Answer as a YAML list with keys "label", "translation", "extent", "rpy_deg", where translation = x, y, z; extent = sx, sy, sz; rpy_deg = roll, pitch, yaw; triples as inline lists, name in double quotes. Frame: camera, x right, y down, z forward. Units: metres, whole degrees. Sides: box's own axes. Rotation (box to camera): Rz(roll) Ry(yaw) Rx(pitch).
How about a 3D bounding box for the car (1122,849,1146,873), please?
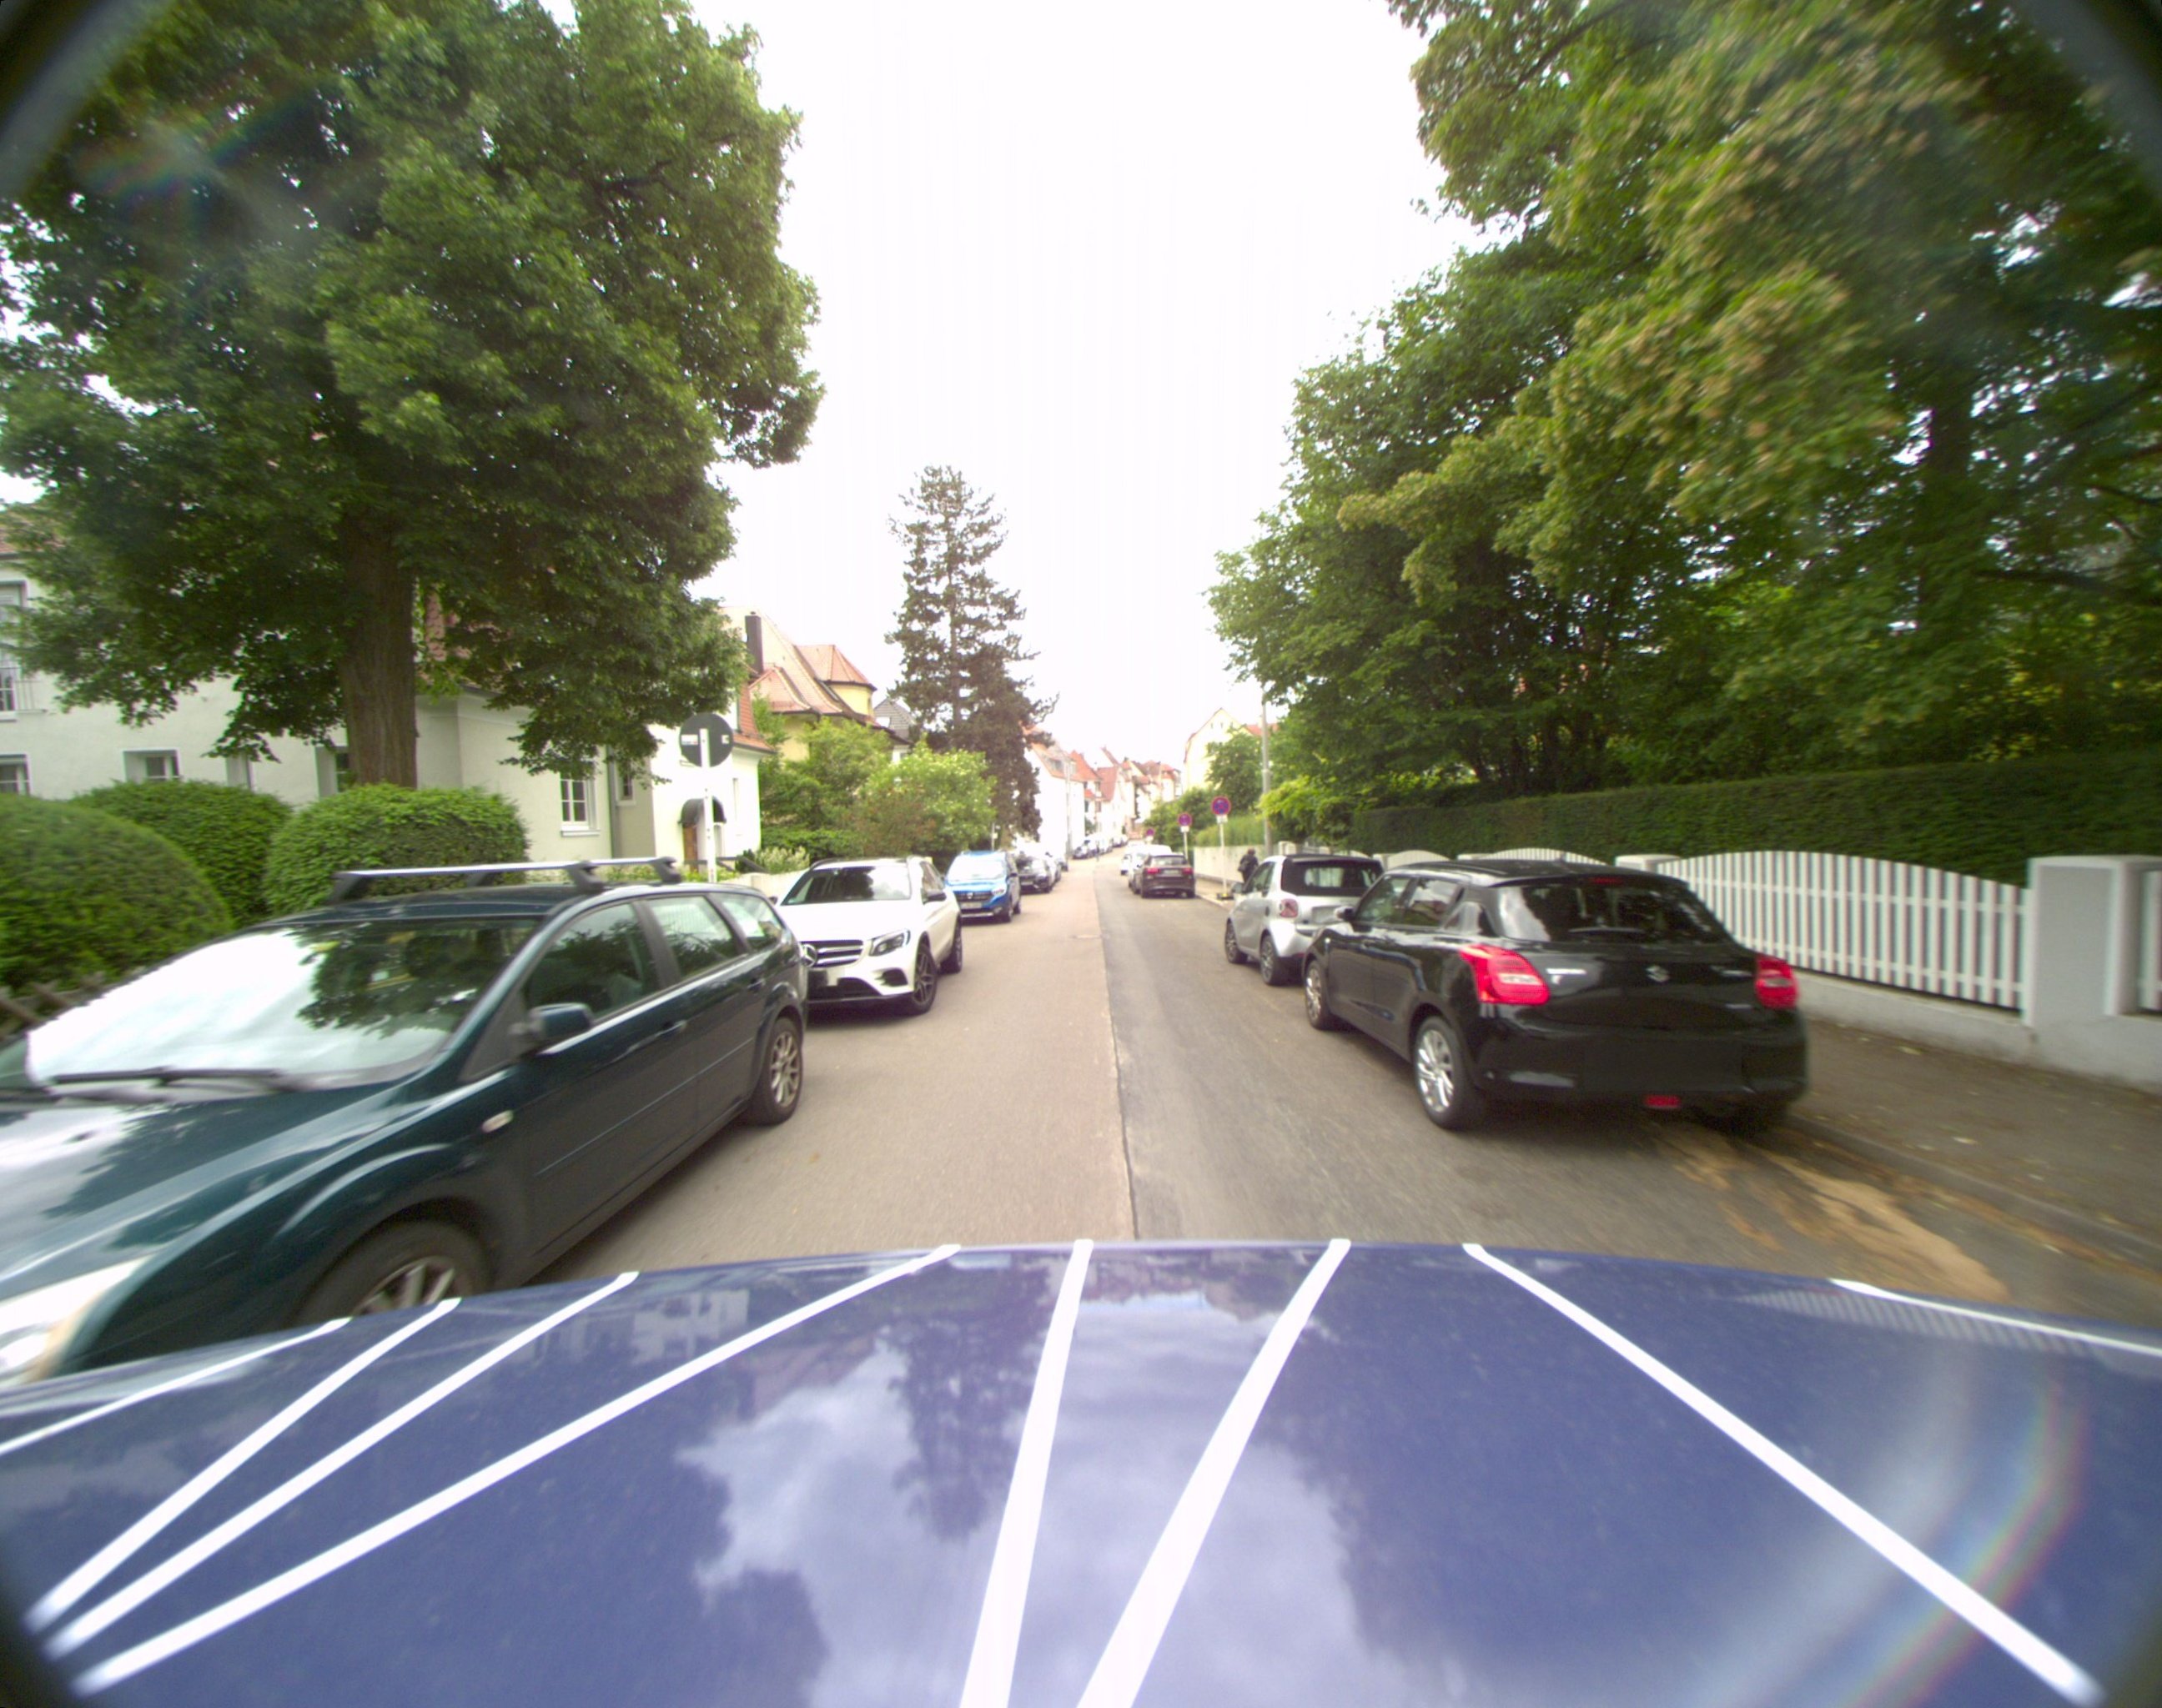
- label: "car"
  translation: [3.756, 0.473, 53.414]
  extent: [1.445, 1.543, 2.771]
  rpy_deg: [2, 1, 8]

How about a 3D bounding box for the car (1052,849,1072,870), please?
- label: "car"
  translation: [-1.603, 0.447, 64.267]
  extent: [1.576, 1.523, 2.867]
  rpy_deg: [-4, 1, -1]

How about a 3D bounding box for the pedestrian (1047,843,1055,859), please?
- label: "pedestrian"
  translation: [-3.064, -0.283, 77.628]
  extent: [0.682, 1.568, 0.906]
  rpy_deg: [1, 3, 7]

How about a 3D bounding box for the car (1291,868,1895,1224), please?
- label: "car"
  translation: [2.799, 0.885, 5.318]
  extent: [1.659, 1.472, 3.888]
  rpy_deg: [1, 0, 2]

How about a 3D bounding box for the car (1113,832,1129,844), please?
- label: "car"
  translation: [5.850, -2.327, 110.782]
  extent: [1.607, 1.482, 4.023]
  rpy_deg: [-2, 4, 12]

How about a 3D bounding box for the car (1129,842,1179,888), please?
- label: "car"
  translation: [3.196, 0.410, 34.121]
  extent: [1.859, 1.902, 4.619]
  rpy_deg: [1, 1, 1]

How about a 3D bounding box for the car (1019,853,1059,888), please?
- label: "car"
  translation: [-2.161, 0.811, 40.204]
  extent: [1.789, 1.594, 4.303]
  rpy_deg: [-4, 1, 0]

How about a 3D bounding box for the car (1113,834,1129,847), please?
- label: "car"
  translation: [5.832, -1.916, 110.667]
  extent: [1.779, 1.711, 4.001]
  rpy_deg: [-2, 2, 11]

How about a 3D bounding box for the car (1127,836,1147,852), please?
- label: "car"
  translation: [6.551, -1.166, 88.515]
  extent: [1.807, 1.650, 4.153]
  rpy_deg: [0, 2, 12]

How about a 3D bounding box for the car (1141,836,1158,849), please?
- label: "car"
  translation: [9.208, -1.557, 102.143]
  extent: [1.805, 1.472, 4.329]
  rpy_deg: [-1, 4, 12]

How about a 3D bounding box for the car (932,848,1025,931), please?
- label: "car"
  translation: [-2.521, 0.811, 19.625]
  extent: [1.687, 1.818, 4.156]
  rpy_deg: [-4, 0, 0]

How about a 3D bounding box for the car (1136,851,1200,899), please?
- label: "car"
  translation: [3.112, 0.694, 28.032]
  extent: [1.795, 1.614, 4.342]
  rpy_deg: [-1, 0, -1]

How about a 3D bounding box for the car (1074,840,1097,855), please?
- label: "car"
  translation: [0.547, -0.767, 87.798]
  extent: [1.821, 1.478, 4.288]
  rpy_deg: [-1, 3, 11]

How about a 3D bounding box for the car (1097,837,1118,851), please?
- label: "car"
  translation: [3.484, -1.328, 99.783]
  extent: [1.827, 1.437, 4.384]
  rpy_deg: [-2, 4, 13]

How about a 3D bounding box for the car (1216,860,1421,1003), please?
- label: "car"
  translation: [2.878, 0.868, 9.832]
  extent: [1.626, 1.524, 2.961]
  rpy_deg: [0, 0, -2]

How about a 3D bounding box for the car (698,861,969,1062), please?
- label: "car"
  translation: [-2.481, 0.952, 8.888]
  extent: [1.762, 1.596, 4.573]
  rpy_deg: [-3, 0, -2]

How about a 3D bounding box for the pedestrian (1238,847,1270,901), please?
- label: "pedestrian"
  translation: [5.245, 0.592, 23.067]
  extent: [0.610, 1.538, 0.797]
  rpy_deg: [-7, 1, 0]

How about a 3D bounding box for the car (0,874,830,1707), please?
- label: "car"
  translation: [-2.575, 0.956, 3.060]
  extent: [1.702, 1.561, 4.308]
  rpy_deg: [-1, 1, -1]

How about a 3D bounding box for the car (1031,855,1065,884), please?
- label: "car"
  translation: [-1.875, 0.877, 44.526]
  extent: [1.651, 1.450, 4.051]
  rpy_deg: [-3, 1, 1]

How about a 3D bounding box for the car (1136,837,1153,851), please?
- label: "car"
  translation: [7.816, -1.248, 93.835]
  extent: [1.609, 1.446, 3.615]
  rpy_deg: [2, 4, 12]

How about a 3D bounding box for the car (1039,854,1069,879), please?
- label: "car"
  translation: [-1.683, 0.796, 48.561]
  extent: [1.577, 1.392, 3.655]
  rpy_deg: [-3, 1, 1]

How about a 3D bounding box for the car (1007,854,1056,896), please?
- label: "car"
  translation: [-2.143, 0.888, 34.062]
  extent: [1.754, 1.599, 4.075]
  rpy_deg: [-4, 1, 1]

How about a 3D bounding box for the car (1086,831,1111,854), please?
- label: "car"
  translation: [2.187, -1.442, 93.857]
  extent: [1.996, 2.410, 5.294]
  rpy_deg: [-1, 4, 13]

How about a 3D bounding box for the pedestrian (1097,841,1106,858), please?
- label: "pedestrian"
  translation: [2.136, -0.449, 79.849]
  extent: [0.822, 1.750, 0.644]
  rpy_deg: [-4, 2, 1]
